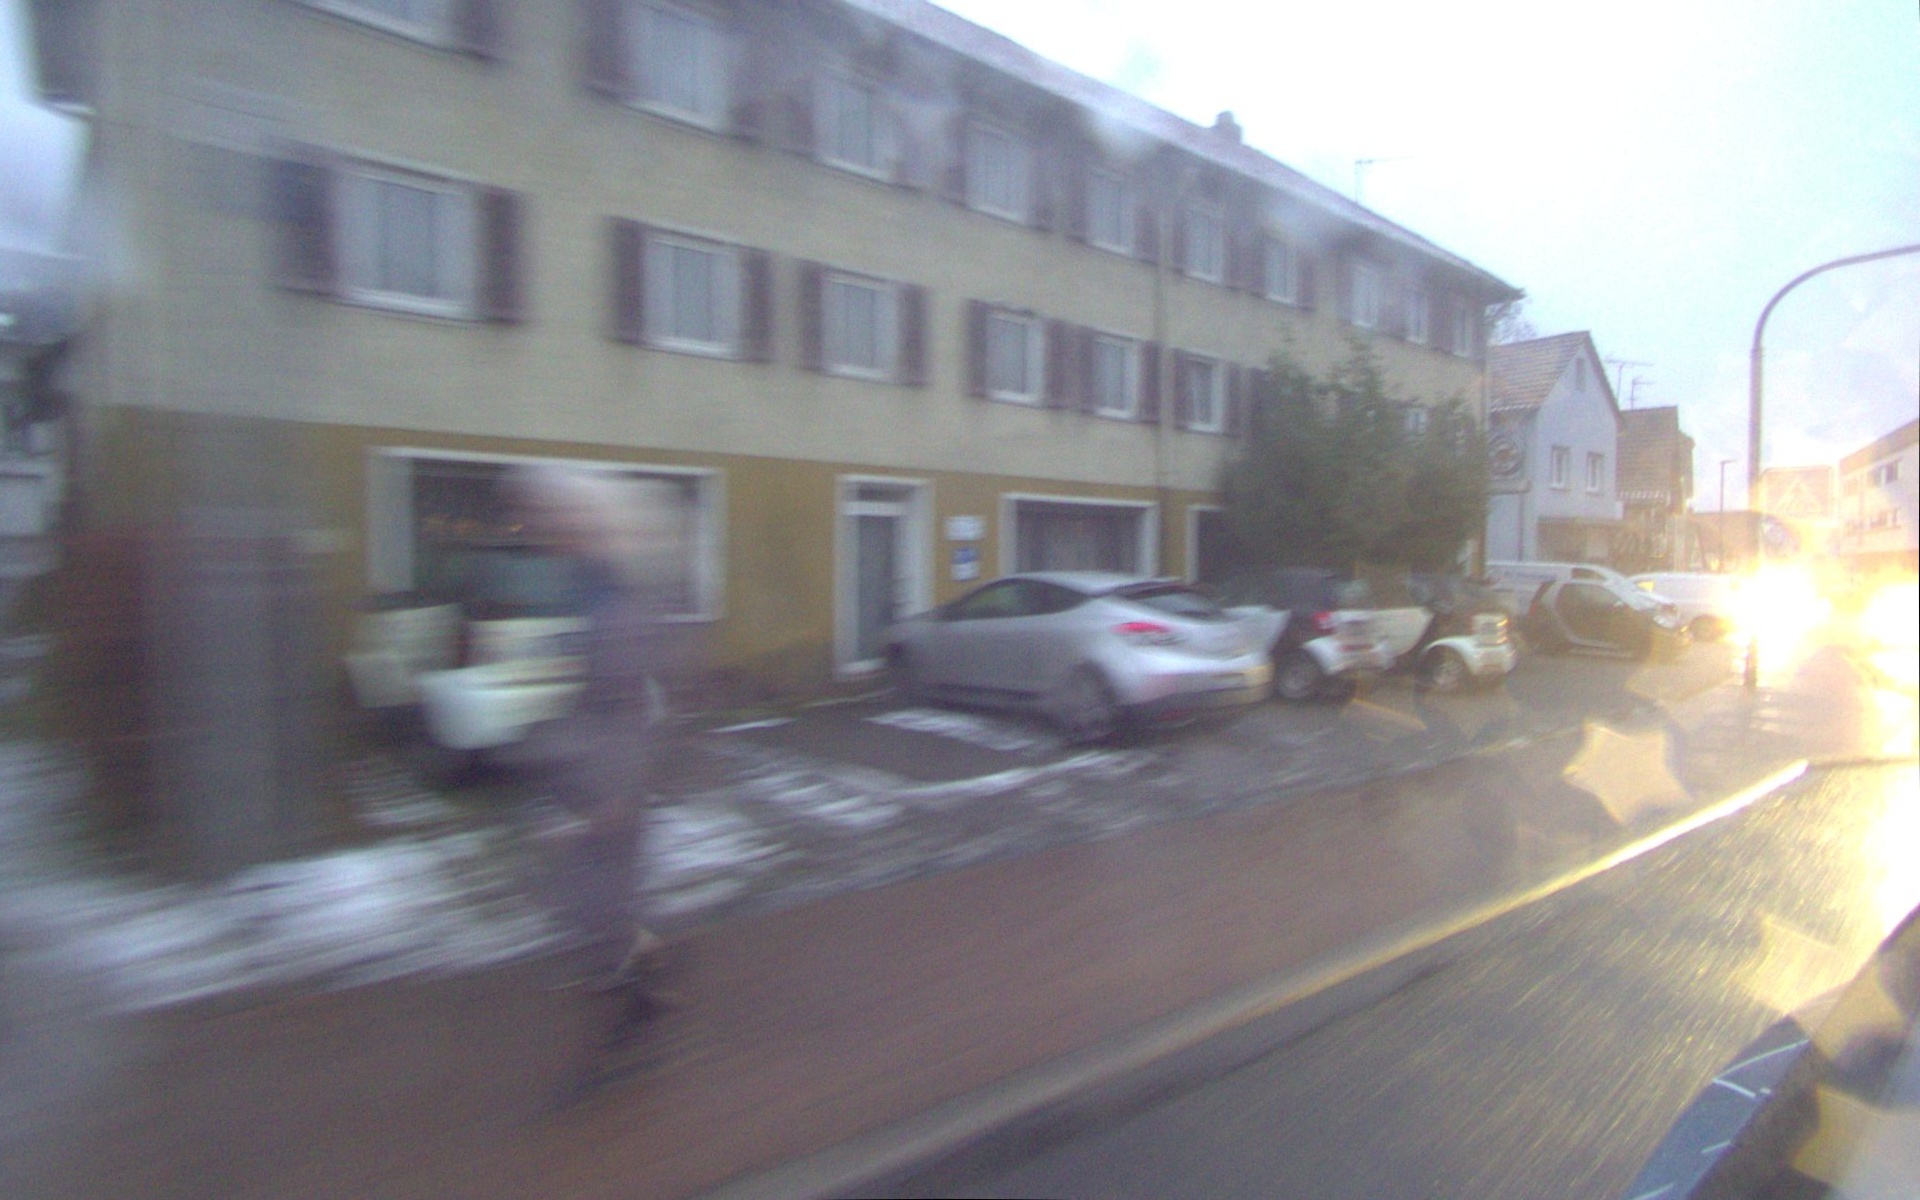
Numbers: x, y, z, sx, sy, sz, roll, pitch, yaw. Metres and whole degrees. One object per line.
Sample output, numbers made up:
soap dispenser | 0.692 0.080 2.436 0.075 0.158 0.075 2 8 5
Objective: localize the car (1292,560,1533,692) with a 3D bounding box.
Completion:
car | 6.155 0.281 13.886 1.525 1.566 2.587 0 2 -42

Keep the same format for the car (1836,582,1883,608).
car | 59.410 -0.338 66.886 1.889 1.637 3.778 0 0 36

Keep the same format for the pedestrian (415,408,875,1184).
pedestrian | -0.904 0.404 2.812 0.973 1.687 0.870 0 4 -34

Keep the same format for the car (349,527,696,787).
car | -3.392 0.239 7.538 1.559 1.492 3.224 0 3 -39

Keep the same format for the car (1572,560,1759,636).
car | 19.744 -0.132 28.424 4.043 1.865 1.835 4 4 43

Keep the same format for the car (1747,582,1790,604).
car | 55.541 -0.481 69.572 1.889 1.484 3.953 0 0 33

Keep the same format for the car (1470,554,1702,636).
car | 16.875 -0.214 27.515 1.904 1.912 4.990 0 3 -42

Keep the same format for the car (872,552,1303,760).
car | 0.987 0.333 9.526 1.719 1.492 3.910 0 3 -39

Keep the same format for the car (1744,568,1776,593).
car | 67.915 -1.638 85.971 1.825 2.039 3.656 0 0 33

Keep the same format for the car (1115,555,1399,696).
car | 3.625 0.217 12.692 1.522 1.492 3.072 0 3 -39

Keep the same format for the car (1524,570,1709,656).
car | 12.926 0.198 20.010 1.402 1.492 2.768 -1 3 -42

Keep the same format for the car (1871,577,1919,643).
car | 25.412 0.233 26.358 1.911 1.638 3.823 0 0 33

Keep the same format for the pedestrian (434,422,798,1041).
pedestrian | -1.202 0.351 3.469 0.953 1.754 0.852 0 4 -34
